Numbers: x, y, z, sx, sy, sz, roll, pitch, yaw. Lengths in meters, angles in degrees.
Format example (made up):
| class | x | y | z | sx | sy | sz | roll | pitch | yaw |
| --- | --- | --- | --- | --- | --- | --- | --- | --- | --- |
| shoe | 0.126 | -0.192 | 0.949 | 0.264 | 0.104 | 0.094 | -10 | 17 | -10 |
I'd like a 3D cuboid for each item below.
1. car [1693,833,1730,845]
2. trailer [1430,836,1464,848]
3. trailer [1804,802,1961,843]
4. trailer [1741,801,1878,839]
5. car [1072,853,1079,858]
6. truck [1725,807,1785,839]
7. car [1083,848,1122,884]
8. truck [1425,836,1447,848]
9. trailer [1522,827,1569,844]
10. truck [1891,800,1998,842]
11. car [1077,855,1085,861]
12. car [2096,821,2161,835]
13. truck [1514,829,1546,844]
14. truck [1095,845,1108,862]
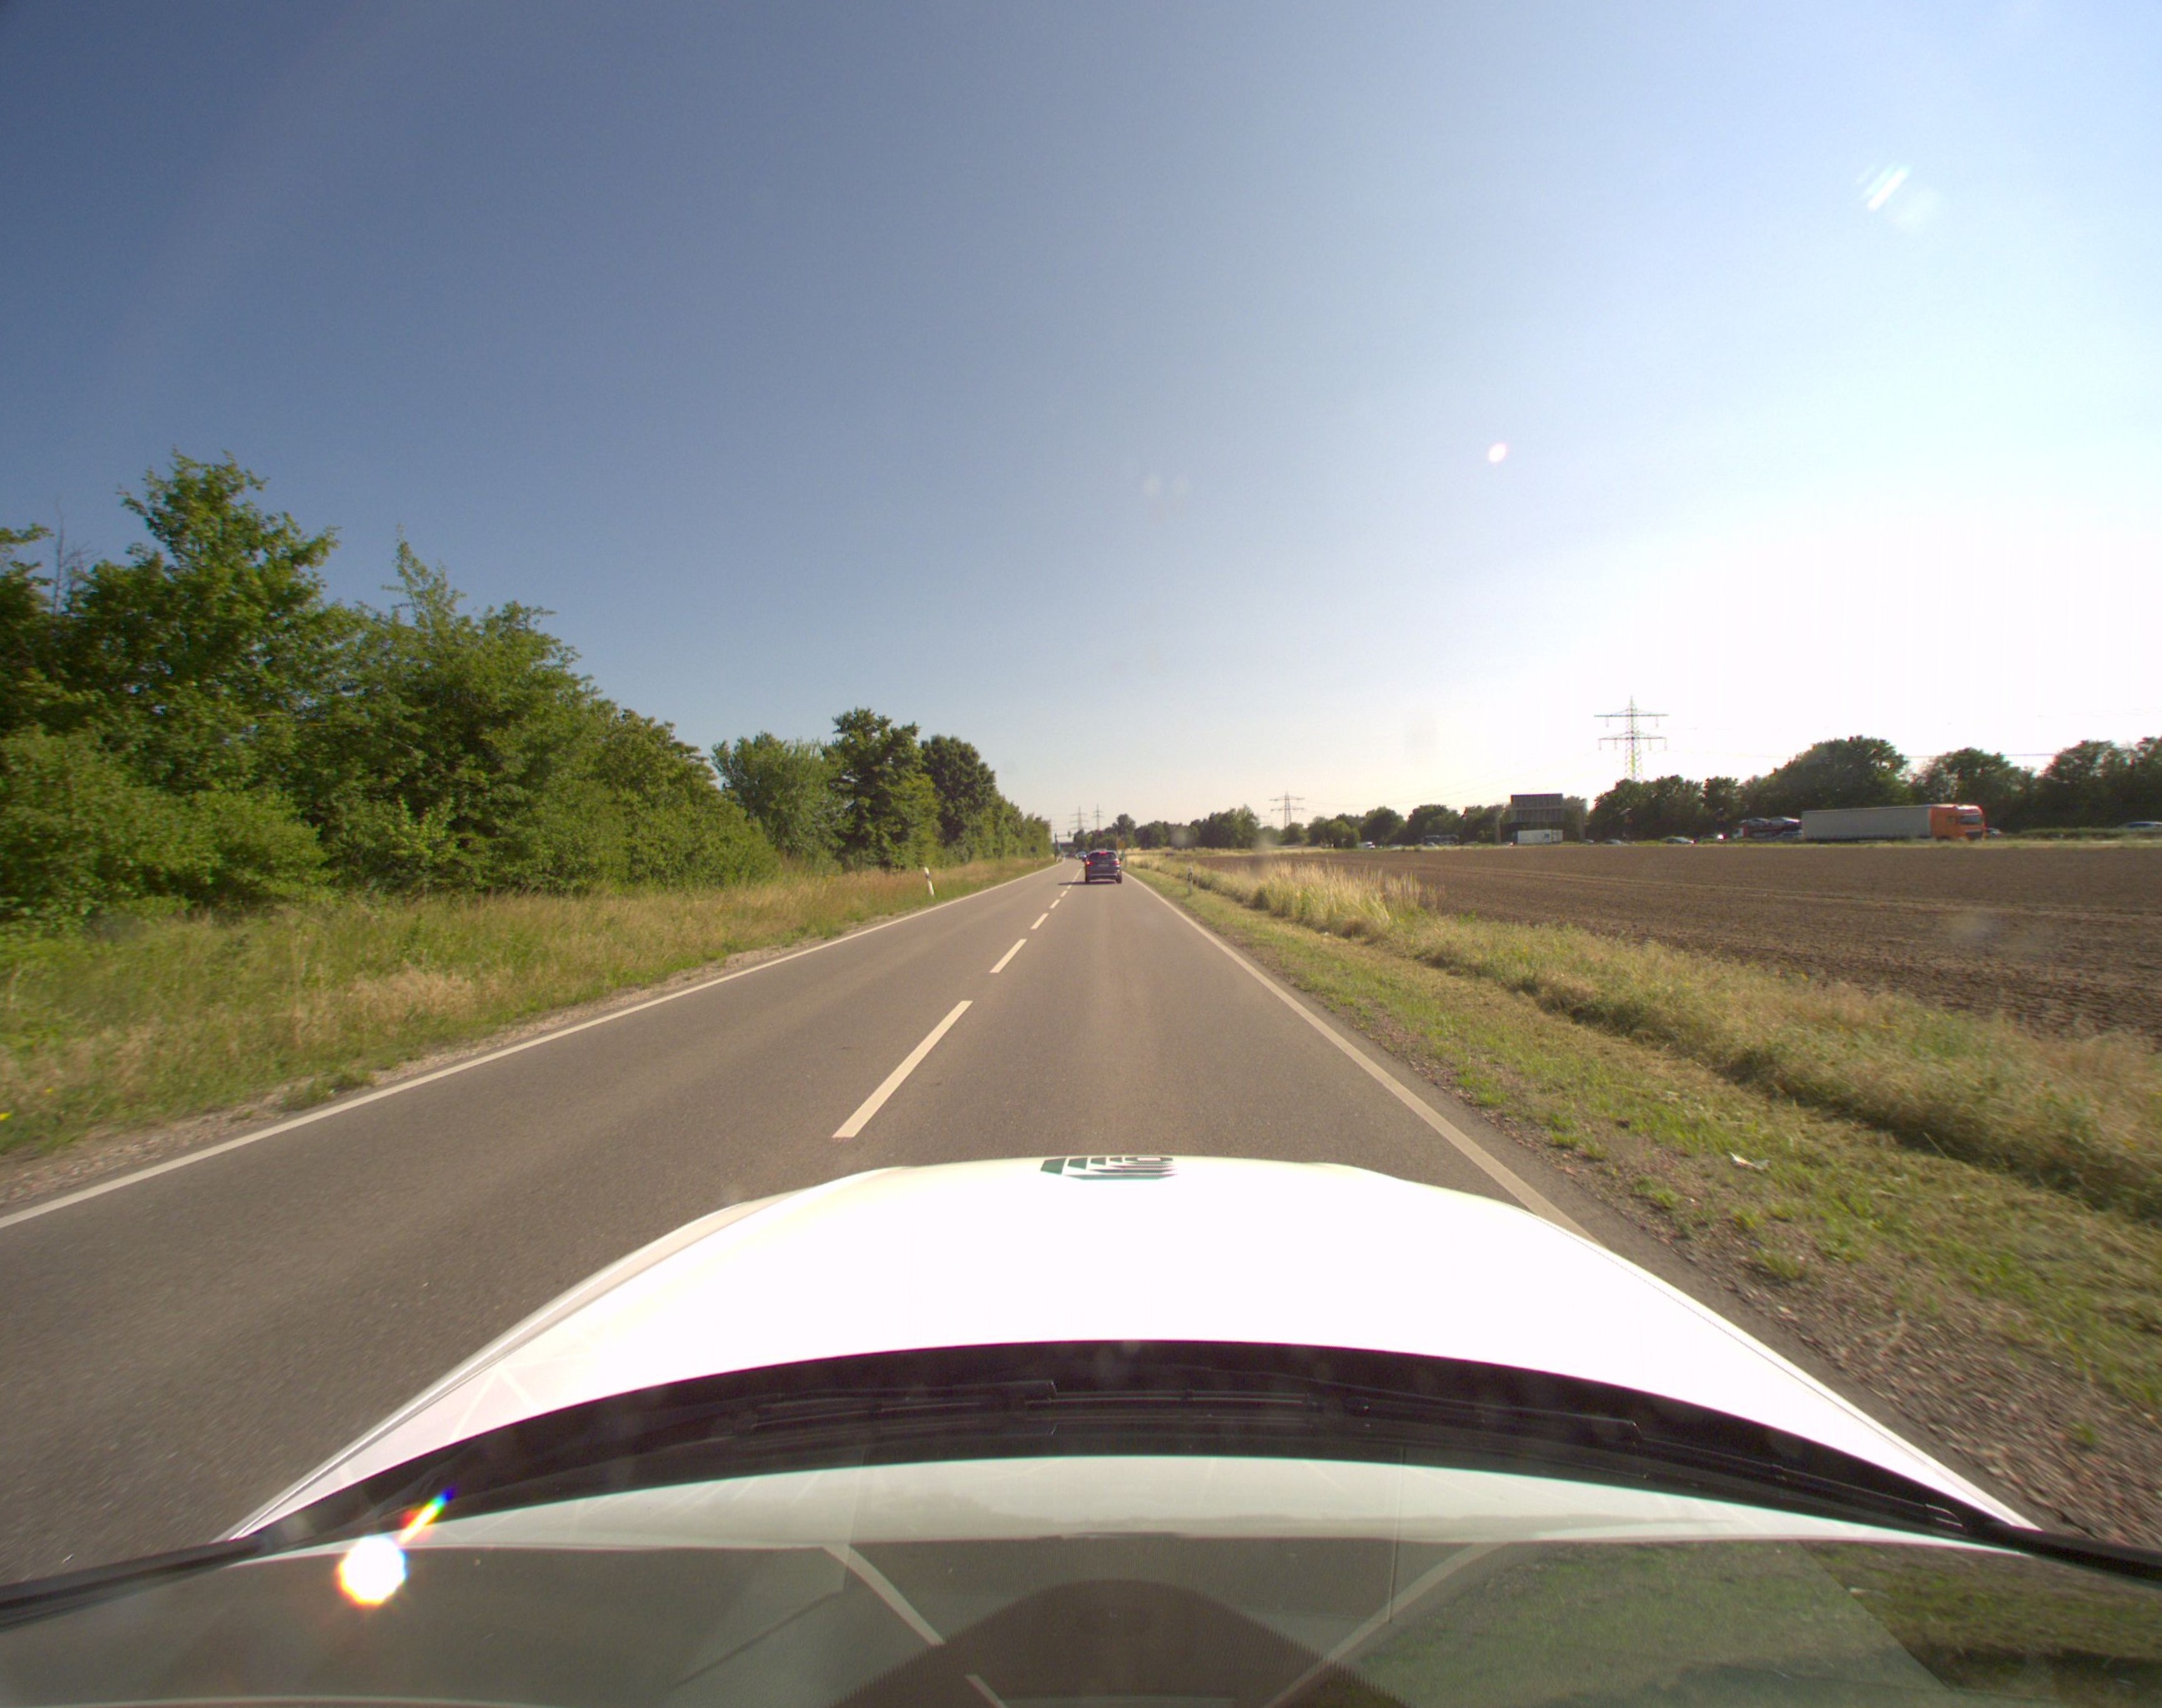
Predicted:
| class | x | y | z | sx | sy | sz | roll | pitch | yaw |
| --- | --- | --- | --- | --- | --- | --- | --- | --- | --- |
| car | 89.326 | -2.085 | 115.395 | 1.898 | 1.612 | 4.476 | 0 | 0 | 2 |
| trailer | 101.956 | -3.350 | 227.177 | 3.274 | 3.267 | 13.450 | -2 | 1 | 0 |
| trailer | 84.627 | -3.173 | 86.618 | 3.094 | 3.849 | 13.714 | -1 | 0 | -1 |
| trailer | 103.000 | -4.671 | 115.995 | 3.411 | 4.452 | 17.555 | -2 | 0 | -1 |
| car | -1.580 | 0.480 | 221.474 | 1.680 | 1.380 | 3.530 | -1 | 0 | -3 |
| truck | 102.830 | -4.643 | 124.426 | 3.411 | 4.452 | 6.702 | -2 | 0 | -1 |
| car | 1.048 | 0.550 | 40.147 | 1.779 | 1.629 | 4.000 | -1 | 0 | 0 |
| truck | 101.928 | -3.410 | 233.888 | 3.274 | 3.267 | 6.427 | -2 | 0 | -1 |
| trailer | 103.597 | -4.082 | 181.812 | 3.274 | 3.267 | 12.452 | -2 | 0 | 0 |
| truck | 84.682 | -3.159 | 80.081 | 3.094 | 3.849 | 6.948 | -1 | 0 | -1 |
| car | -0.018 | 1.004 | 201.348 | 1.812 | 1.540 | 3.996 | -2 | 0 | -3 |
| car | 95.103 | -2.325 | 74.001 | 1.389 | 1.151 | 3.583 | 0 | 1 | 1 |
| truck | 103.532 | -4.066 | 187.901 | 3.274 | 3.267 | 6.977 | -2 | 0 | -1 |
| truck | 3.793 | -0.099 | 151.261 | 2.329 | 3.066 | 5.811 | -1 | -1 | 2 |
